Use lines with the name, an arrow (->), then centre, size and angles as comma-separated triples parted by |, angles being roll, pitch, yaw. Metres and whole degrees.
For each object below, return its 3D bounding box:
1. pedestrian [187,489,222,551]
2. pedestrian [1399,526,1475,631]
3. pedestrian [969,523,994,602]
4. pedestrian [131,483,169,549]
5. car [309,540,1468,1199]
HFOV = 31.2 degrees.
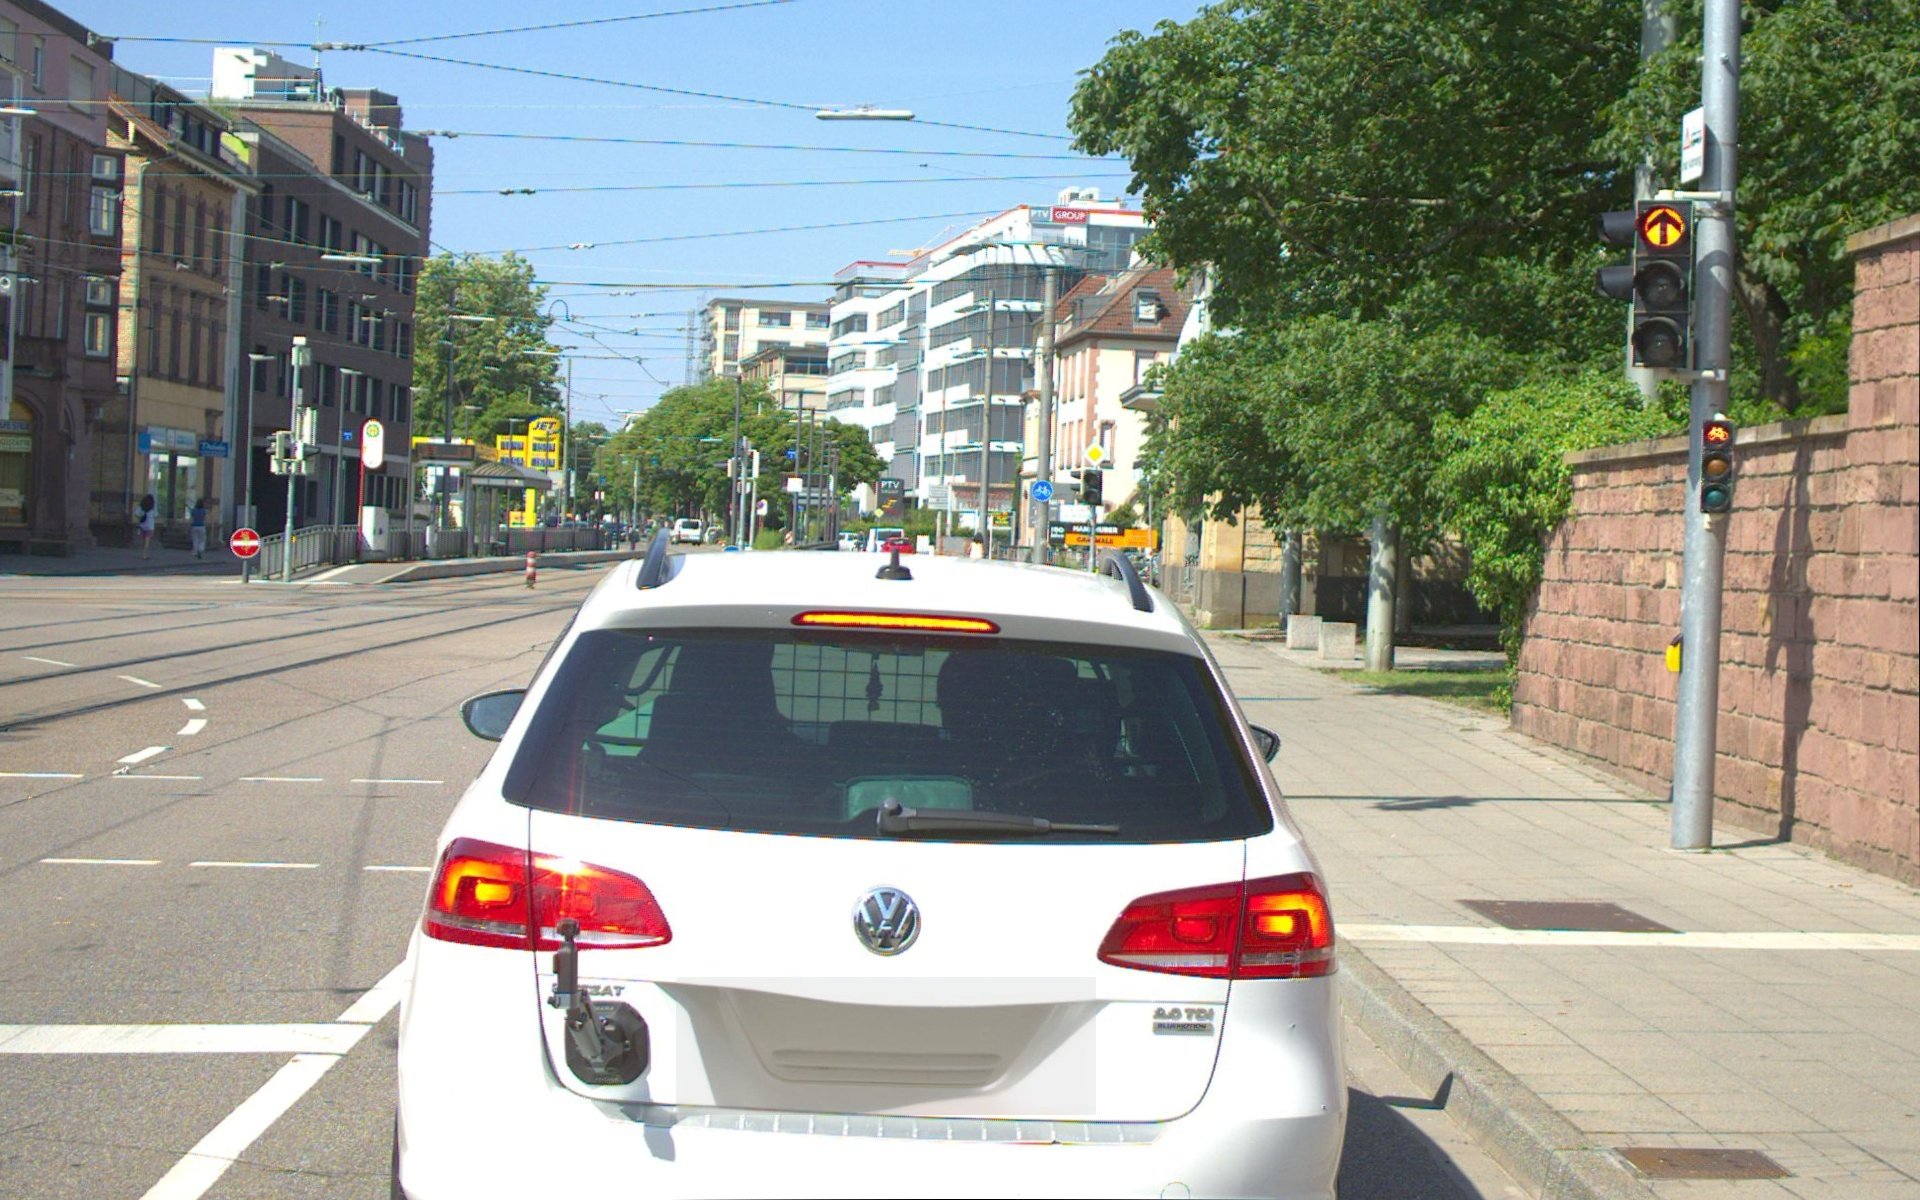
pedestrian -> -21.593, -2.275, 98.249 | 0.861, 1.737, 0.975 | 0, 0, -6
pedestrian -> 7.997, -0.354, 57.690 | 0.861, 1.737, 0.975 | 0, 0, -25
pedestrian -> 0.639, -1.117, 101.608 | 0.690, 2.317, 1.232 | 0, 0, 1
pedestrian -> -21.762, -2.252, 92.332 | 0.861, 1.737, 0.975 | 0, 0, -6
car -> -0.146, 0.624, 7.432 | 1.808, 1.443, 4.000 | 1, 1, -1
